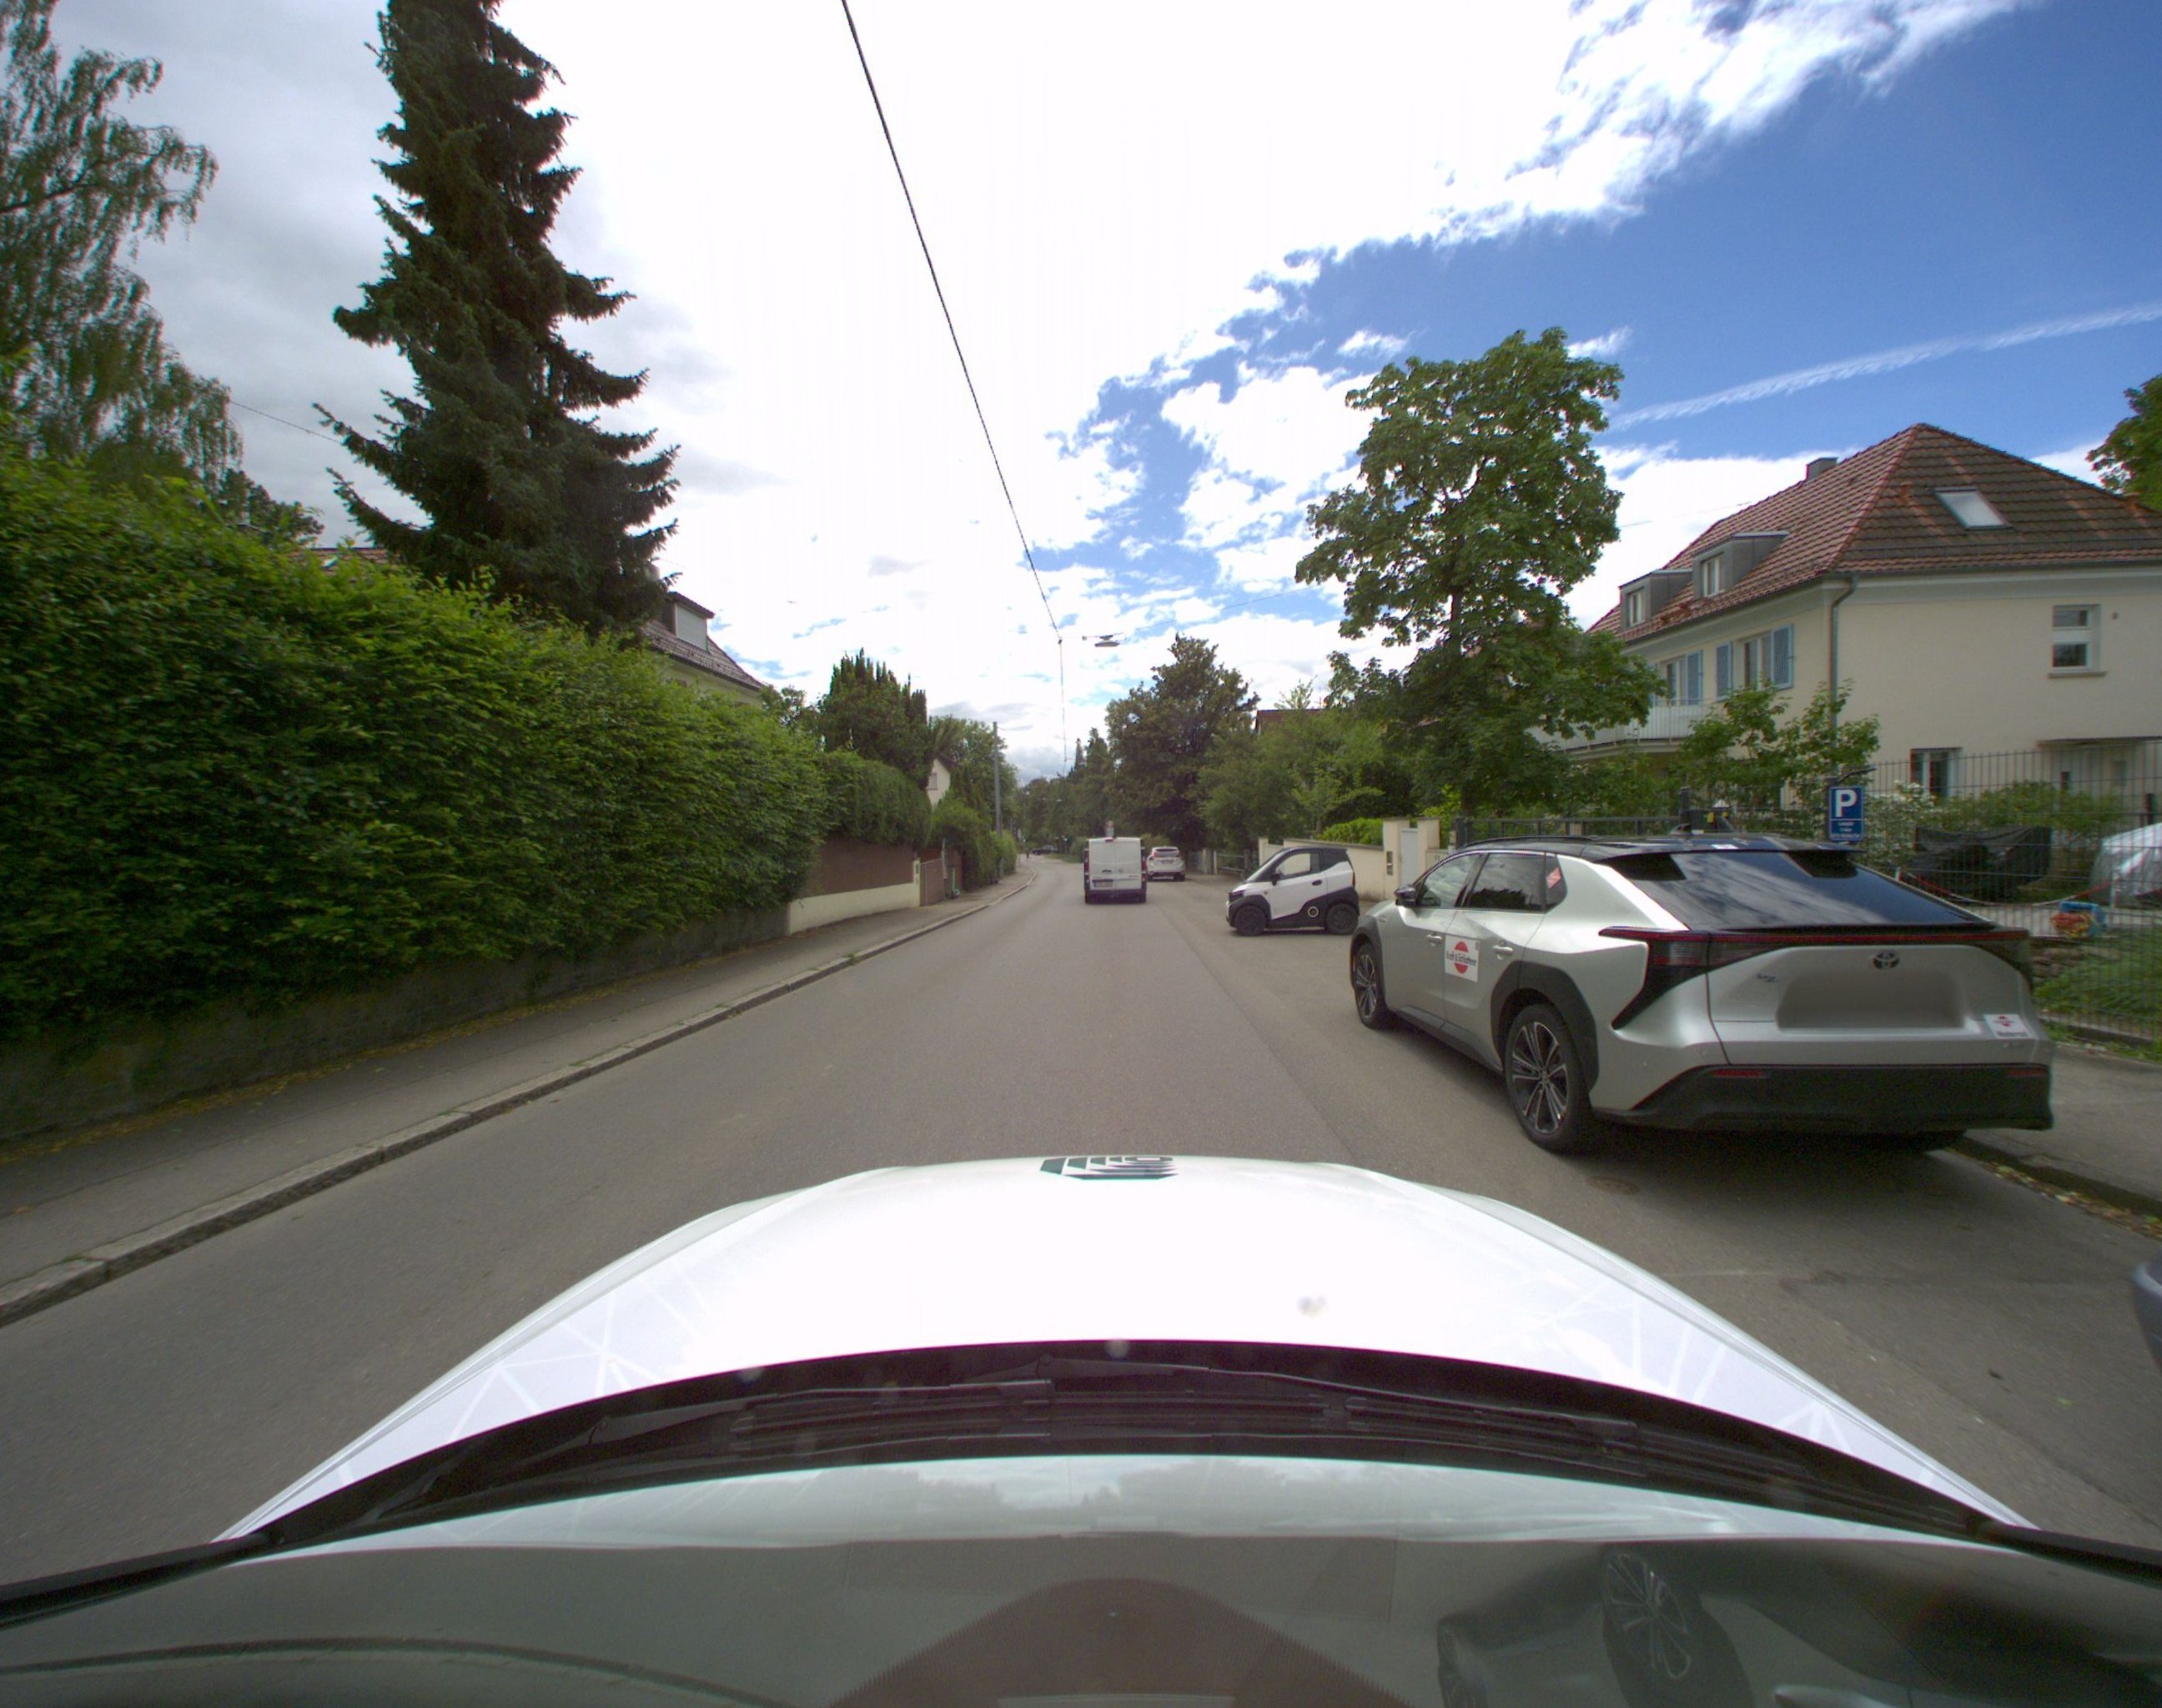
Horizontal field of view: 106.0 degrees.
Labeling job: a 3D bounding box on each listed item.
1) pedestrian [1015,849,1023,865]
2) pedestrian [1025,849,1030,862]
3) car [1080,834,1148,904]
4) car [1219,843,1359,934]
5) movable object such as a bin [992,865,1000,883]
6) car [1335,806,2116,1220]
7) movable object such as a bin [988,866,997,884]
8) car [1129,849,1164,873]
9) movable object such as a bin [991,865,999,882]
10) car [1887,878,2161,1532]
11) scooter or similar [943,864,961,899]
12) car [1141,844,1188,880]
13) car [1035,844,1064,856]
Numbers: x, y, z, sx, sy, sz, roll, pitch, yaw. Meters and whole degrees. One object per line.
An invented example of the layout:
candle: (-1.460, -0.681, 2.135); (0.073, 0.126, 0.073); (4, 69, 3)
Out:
pedestrian: (-6.513, 0.327, 85.494); (0.704, 1.610, 0.576); (-2, 0, 0)
pedestrian: (-6.964, 0.177, 105.817); (0.696, 1.616, 0.714); (-1, 2, -5)
car: (0.994, 0.390, 25.677); (1.923, 1.964, 4.402); (-1, 1, 1)
car: (3.715, 0.600, 14.814); (2.275, 1.524, 1.320); (-2, 1, 6)
movable object such as a bin: (-4.381, 1.023, 42.115); (0.335, 0.893, 0.476); (0, 0, 2)
car: (3.252, 0.631, 5.486); (1.822, 1.623, 4.494); (-1, 0, 2)
movable object such as a bin: (-4.449, 1.033, 40.919); (0.335, 0.893, 0.476); (0, 0, 2)
car: (4.146, 0.428, 52.031); (1.706, 1.487, 3.786); (-1, 0, -3)
movable object such as a bin: (-4.383, 0.989, 41.532); (0.335, 0.893, 0.476); (0, 0, 2)
car: (3.118, 0.764, 0.222); (1.709, 1.382, 4.238); (-1, 0, 2)
scooter or similar: (-4.539, 0.956, 28.774); (0.390, 1.171, 1.270); (-1, 0, 1)
car: (4.131, 0.359, 40.800); (1.859, 1.685, 4.349); (-1, 0, 0)
car: (-5.078, -0.673, 131.668); (4.351, 1.859, 1.913); (-1, 1, 22)
